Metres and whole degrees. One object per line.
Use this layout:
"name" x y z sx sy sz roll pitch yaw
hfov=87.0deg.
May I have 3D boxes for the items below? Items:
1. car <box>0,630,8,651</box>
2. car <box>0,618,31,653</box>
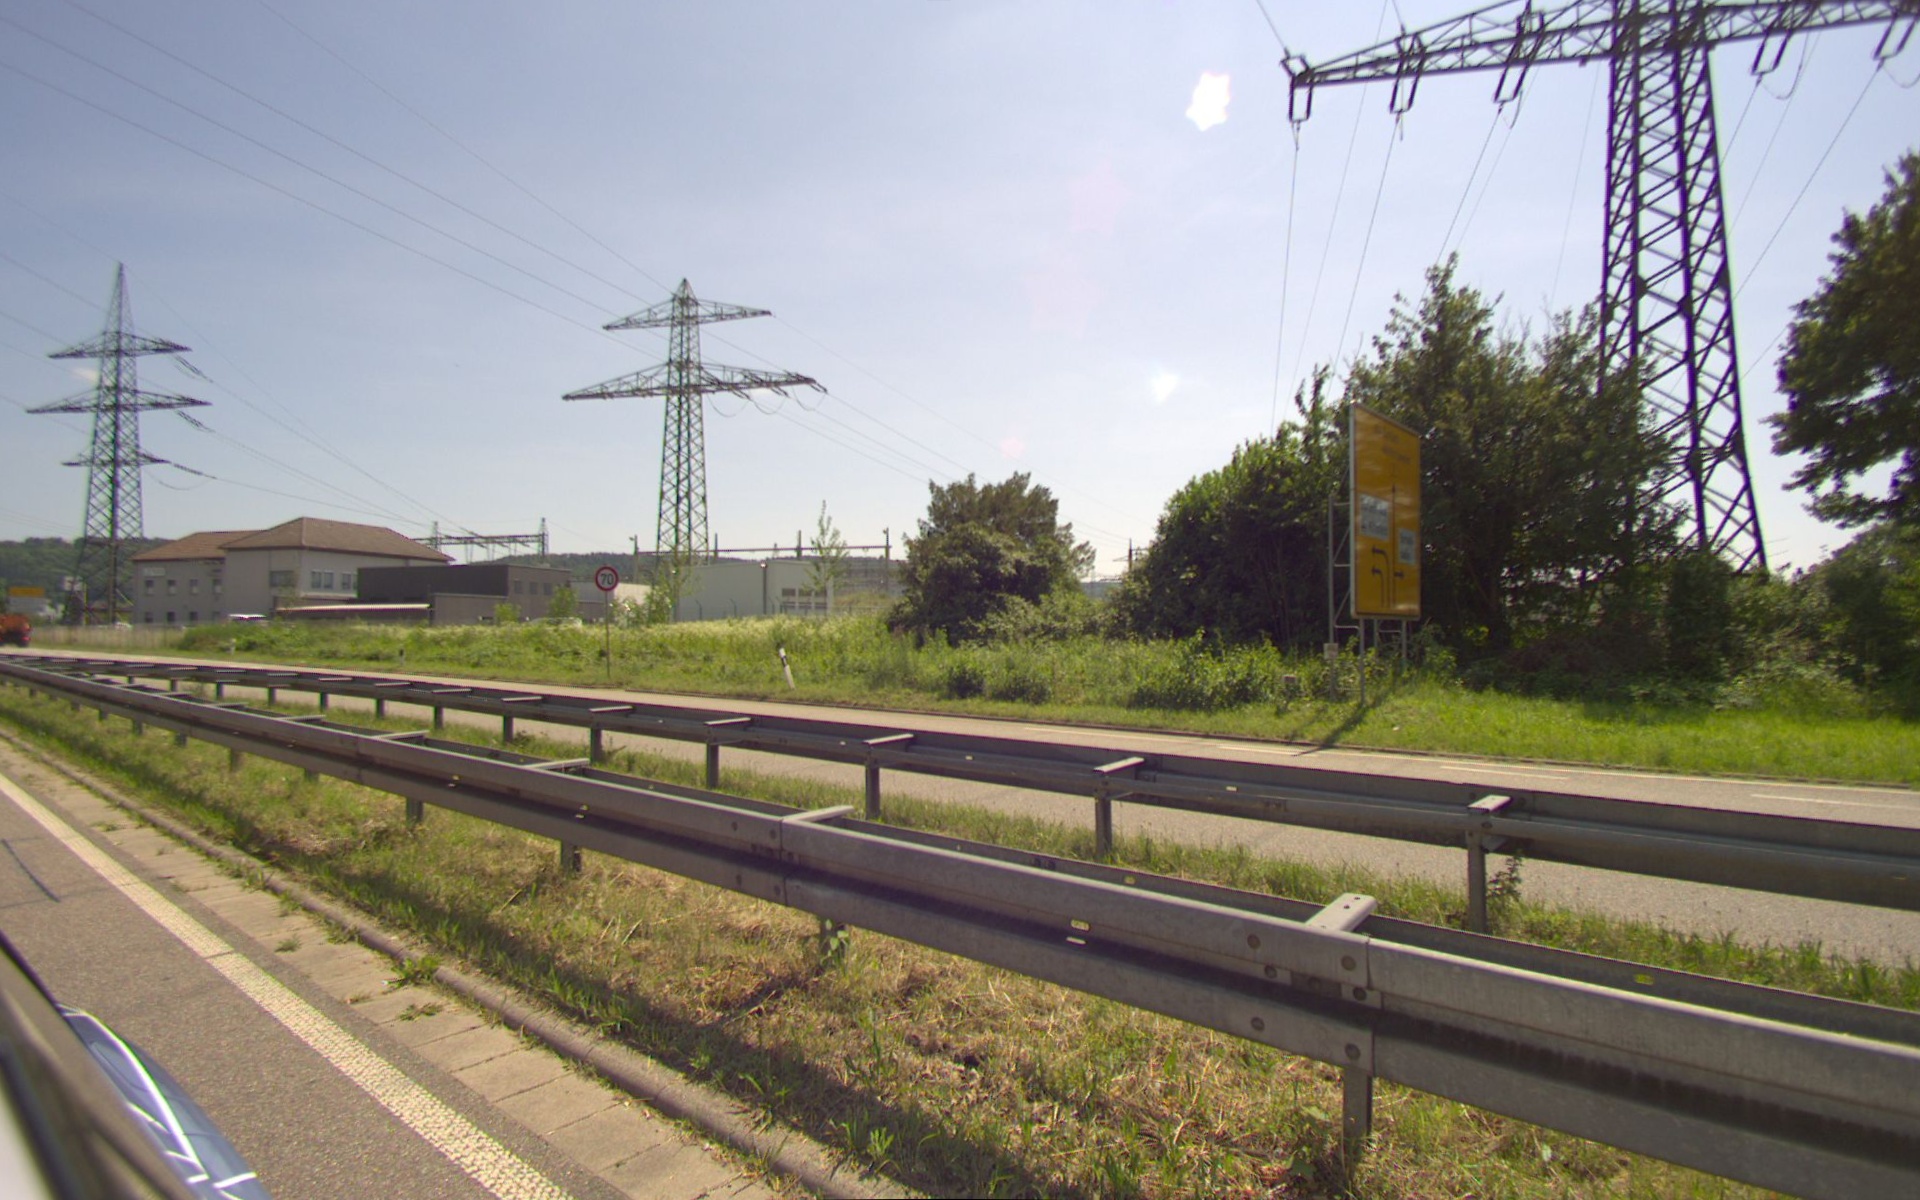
"car" -95.139 3.966 99.224 3.993 1.929 1.975 0 0 37
"car" -87.838 3.251 93.216 5.634 3.084 2.574 -2 -3 40
